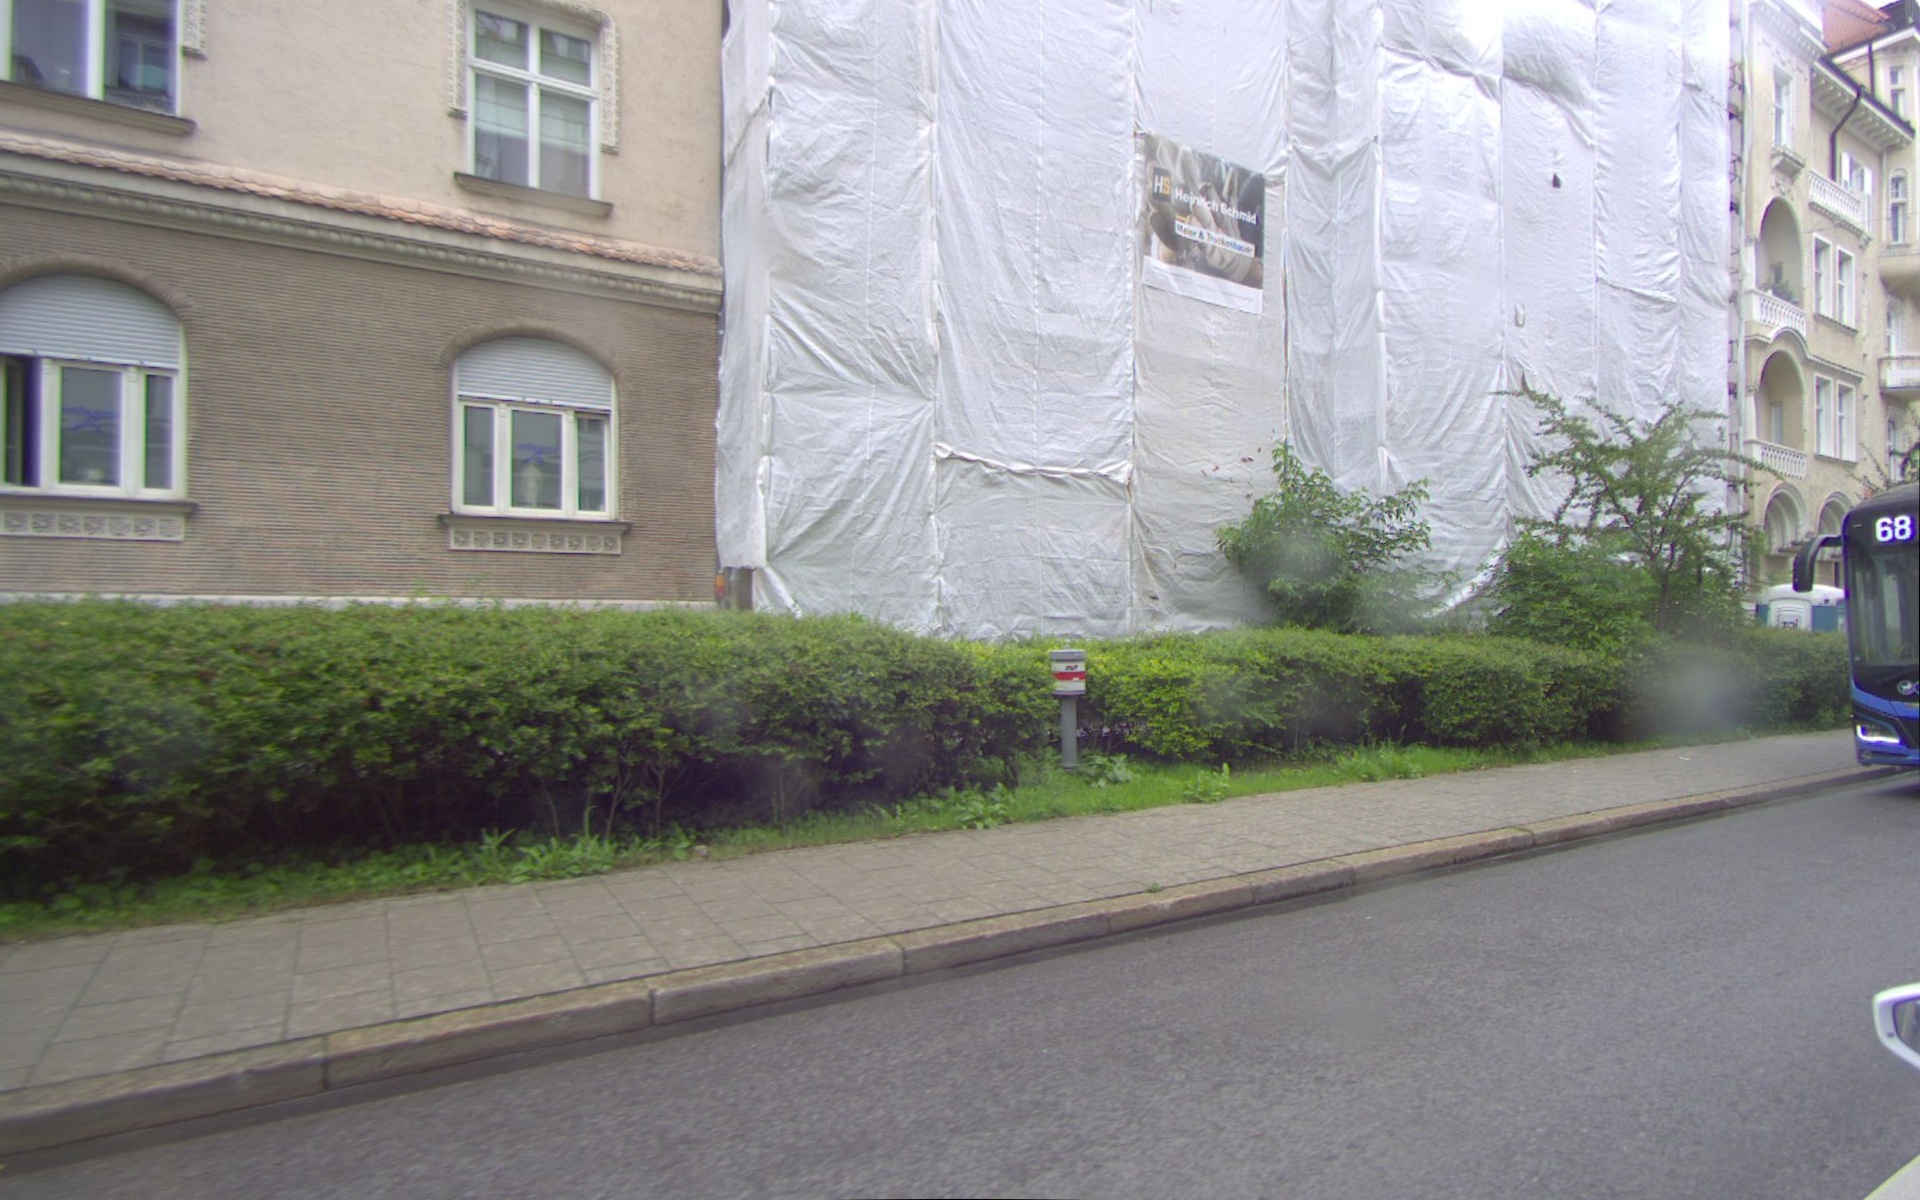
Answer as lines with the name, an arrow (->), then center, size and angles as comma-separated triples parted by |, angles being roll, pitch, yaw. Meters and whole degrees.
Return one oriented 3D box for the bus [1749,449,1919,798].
bus -> 16.828, 0.374, 13.617 | 17.842, 3.254, 3.158 | 1, -3, -30
